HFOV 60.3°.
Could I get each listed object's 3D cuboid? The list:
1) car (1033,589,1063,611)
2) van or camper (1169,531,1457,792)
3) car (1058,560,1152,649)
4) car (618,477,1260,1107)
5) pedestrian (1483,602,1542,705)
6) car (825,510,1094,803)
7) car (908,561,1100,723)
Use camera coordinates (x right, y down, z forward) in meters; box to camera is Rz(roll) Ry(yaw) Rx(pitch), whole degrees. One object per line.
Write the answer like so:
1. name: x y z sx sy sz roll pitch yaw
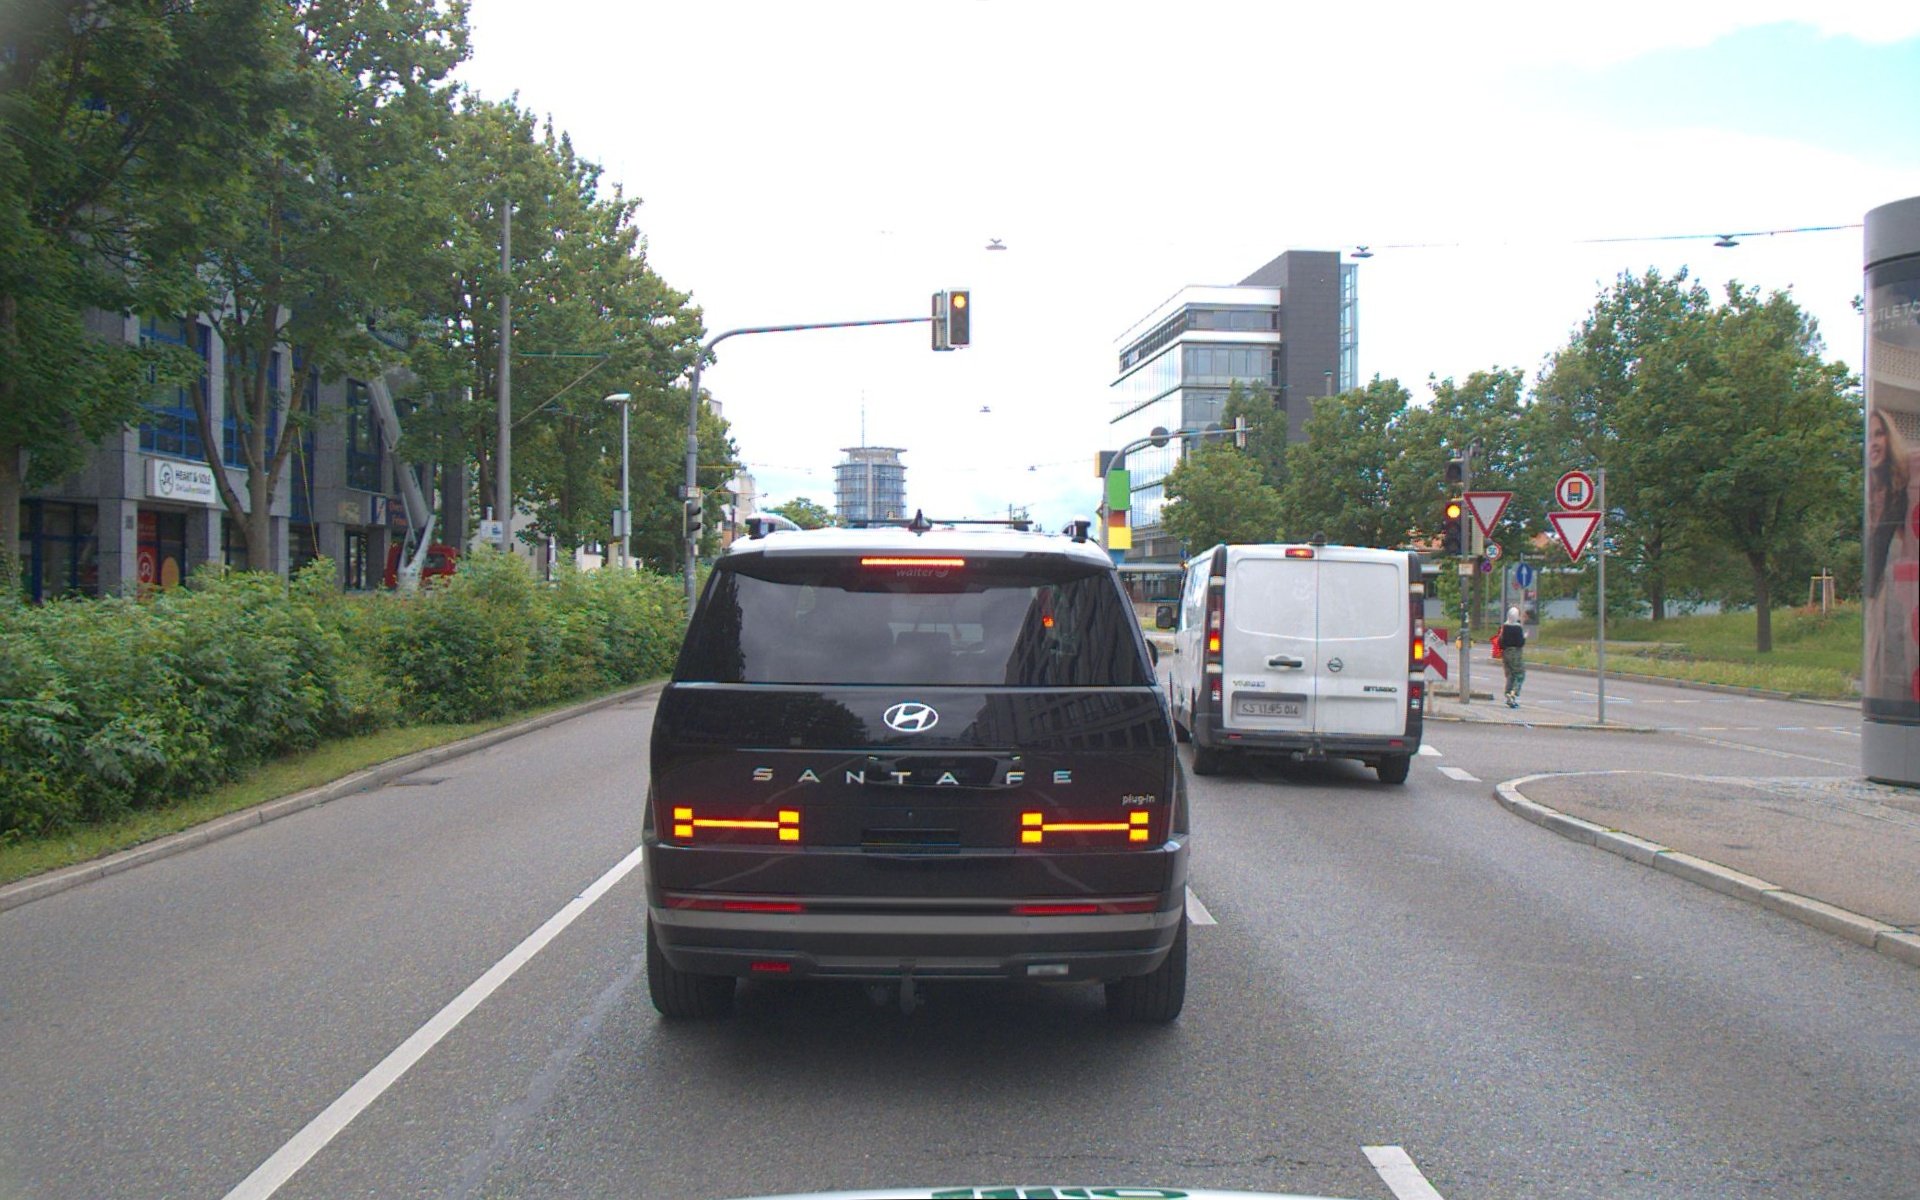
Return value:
1. car: 7.017 0.011 131.917 1.954 1.713 3.997 1 0 -3
2. van or camper: 3.093 0.474 15.463 1.952 2.049 4.655 1 0 3
3. car: 3.481 0.121 40.412 1.952 2.049 4.000 1 0 0
4. car: -0.082 0.534 6.662 1.831 1.791 3.879 0 0 -1
5. pedestrian: 8.966 0.862 26.834 0.733 1.612 0.565 2 0 -41
6. car: -0.030 0.381 13.479 1.876 2.038 3.879 0 0 -1
7. car: 0.658 0.471 20.271 1.738 1.747 4.342 1 0 10
